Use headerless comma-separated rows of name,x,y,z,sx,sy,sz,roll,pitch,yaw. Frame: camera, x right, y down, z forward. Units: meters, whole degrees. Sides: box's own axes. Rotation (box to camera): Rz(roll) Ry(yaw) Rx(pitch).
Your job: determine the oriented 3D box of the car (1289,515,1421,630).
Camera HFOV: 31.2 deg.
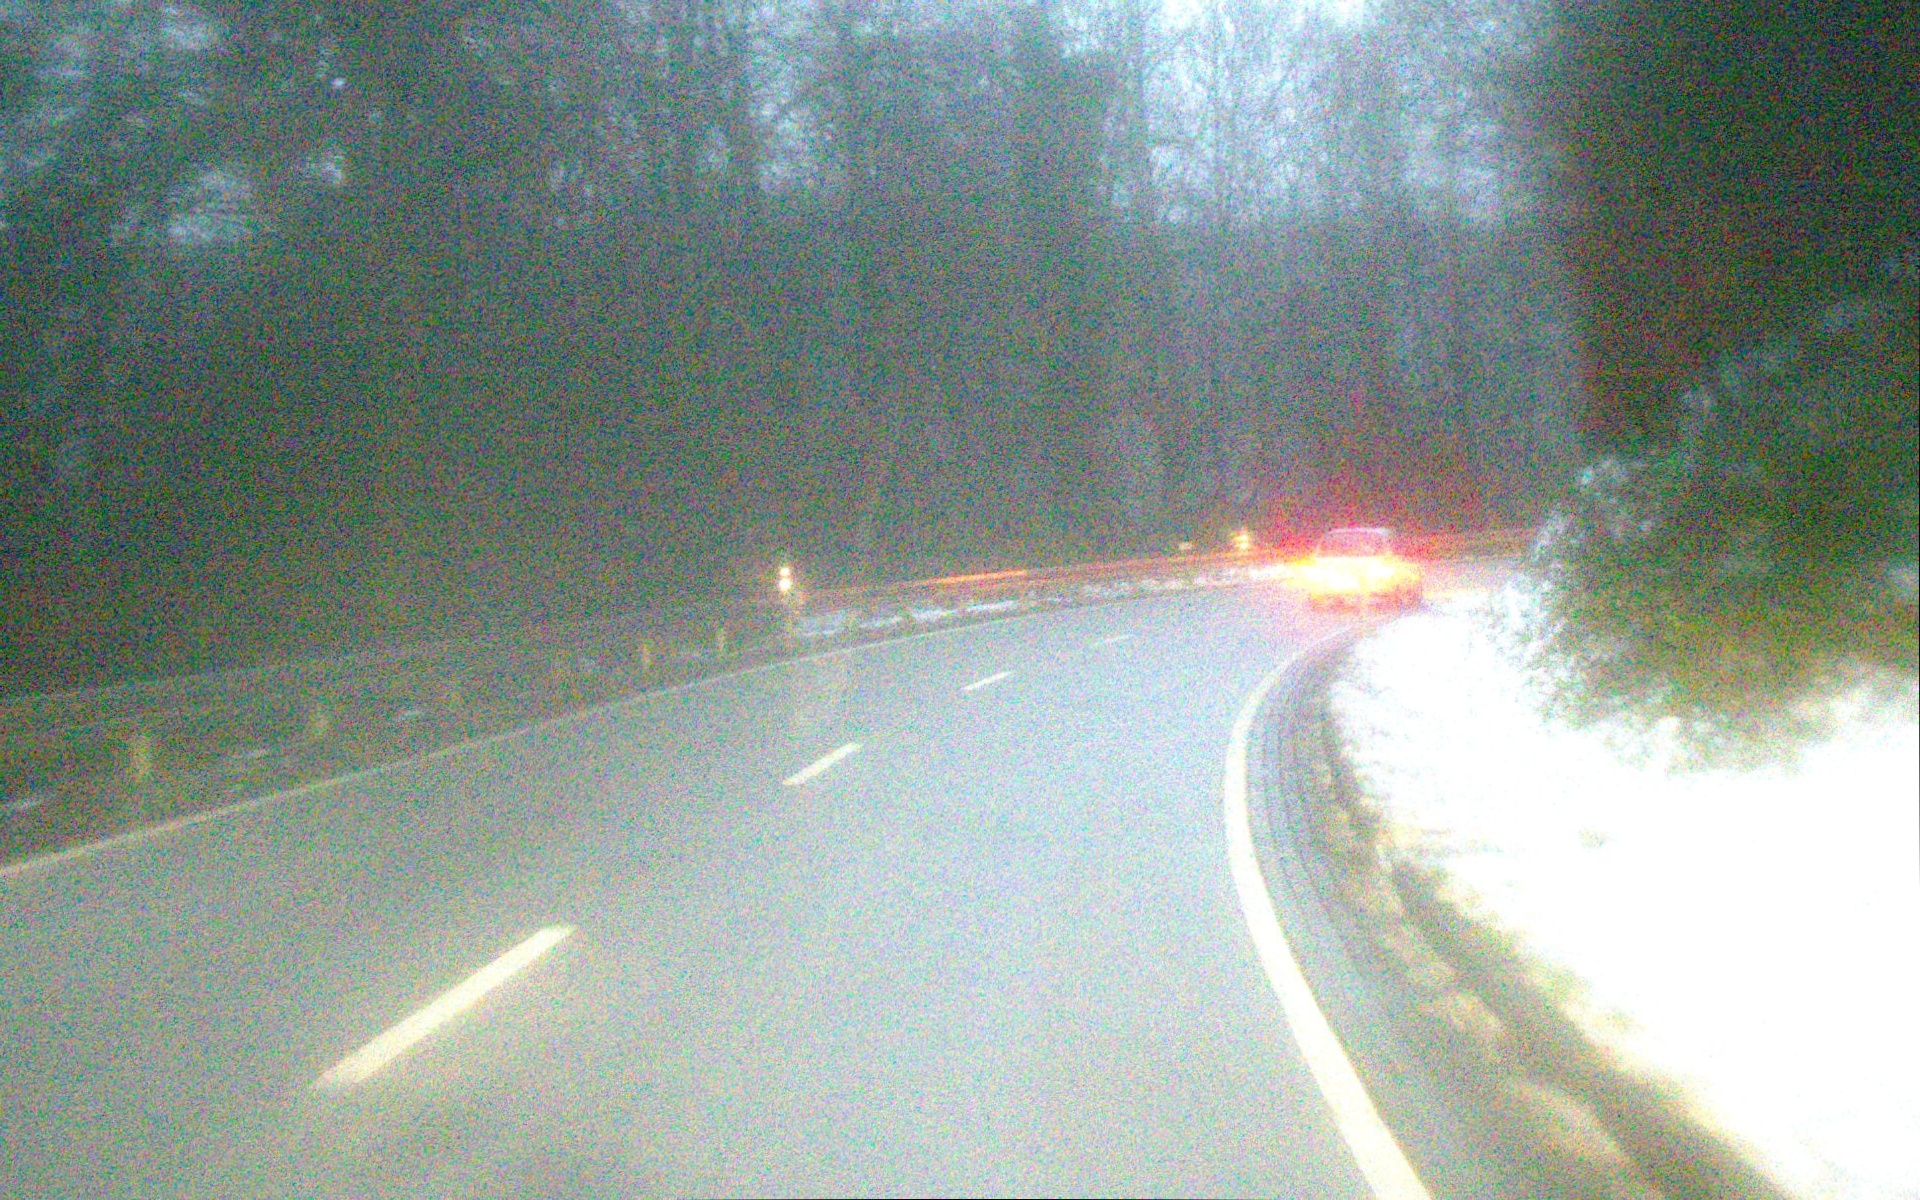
car,7.083,-0.525,61.413,1.994,1.866,3.999,-3,1,10
